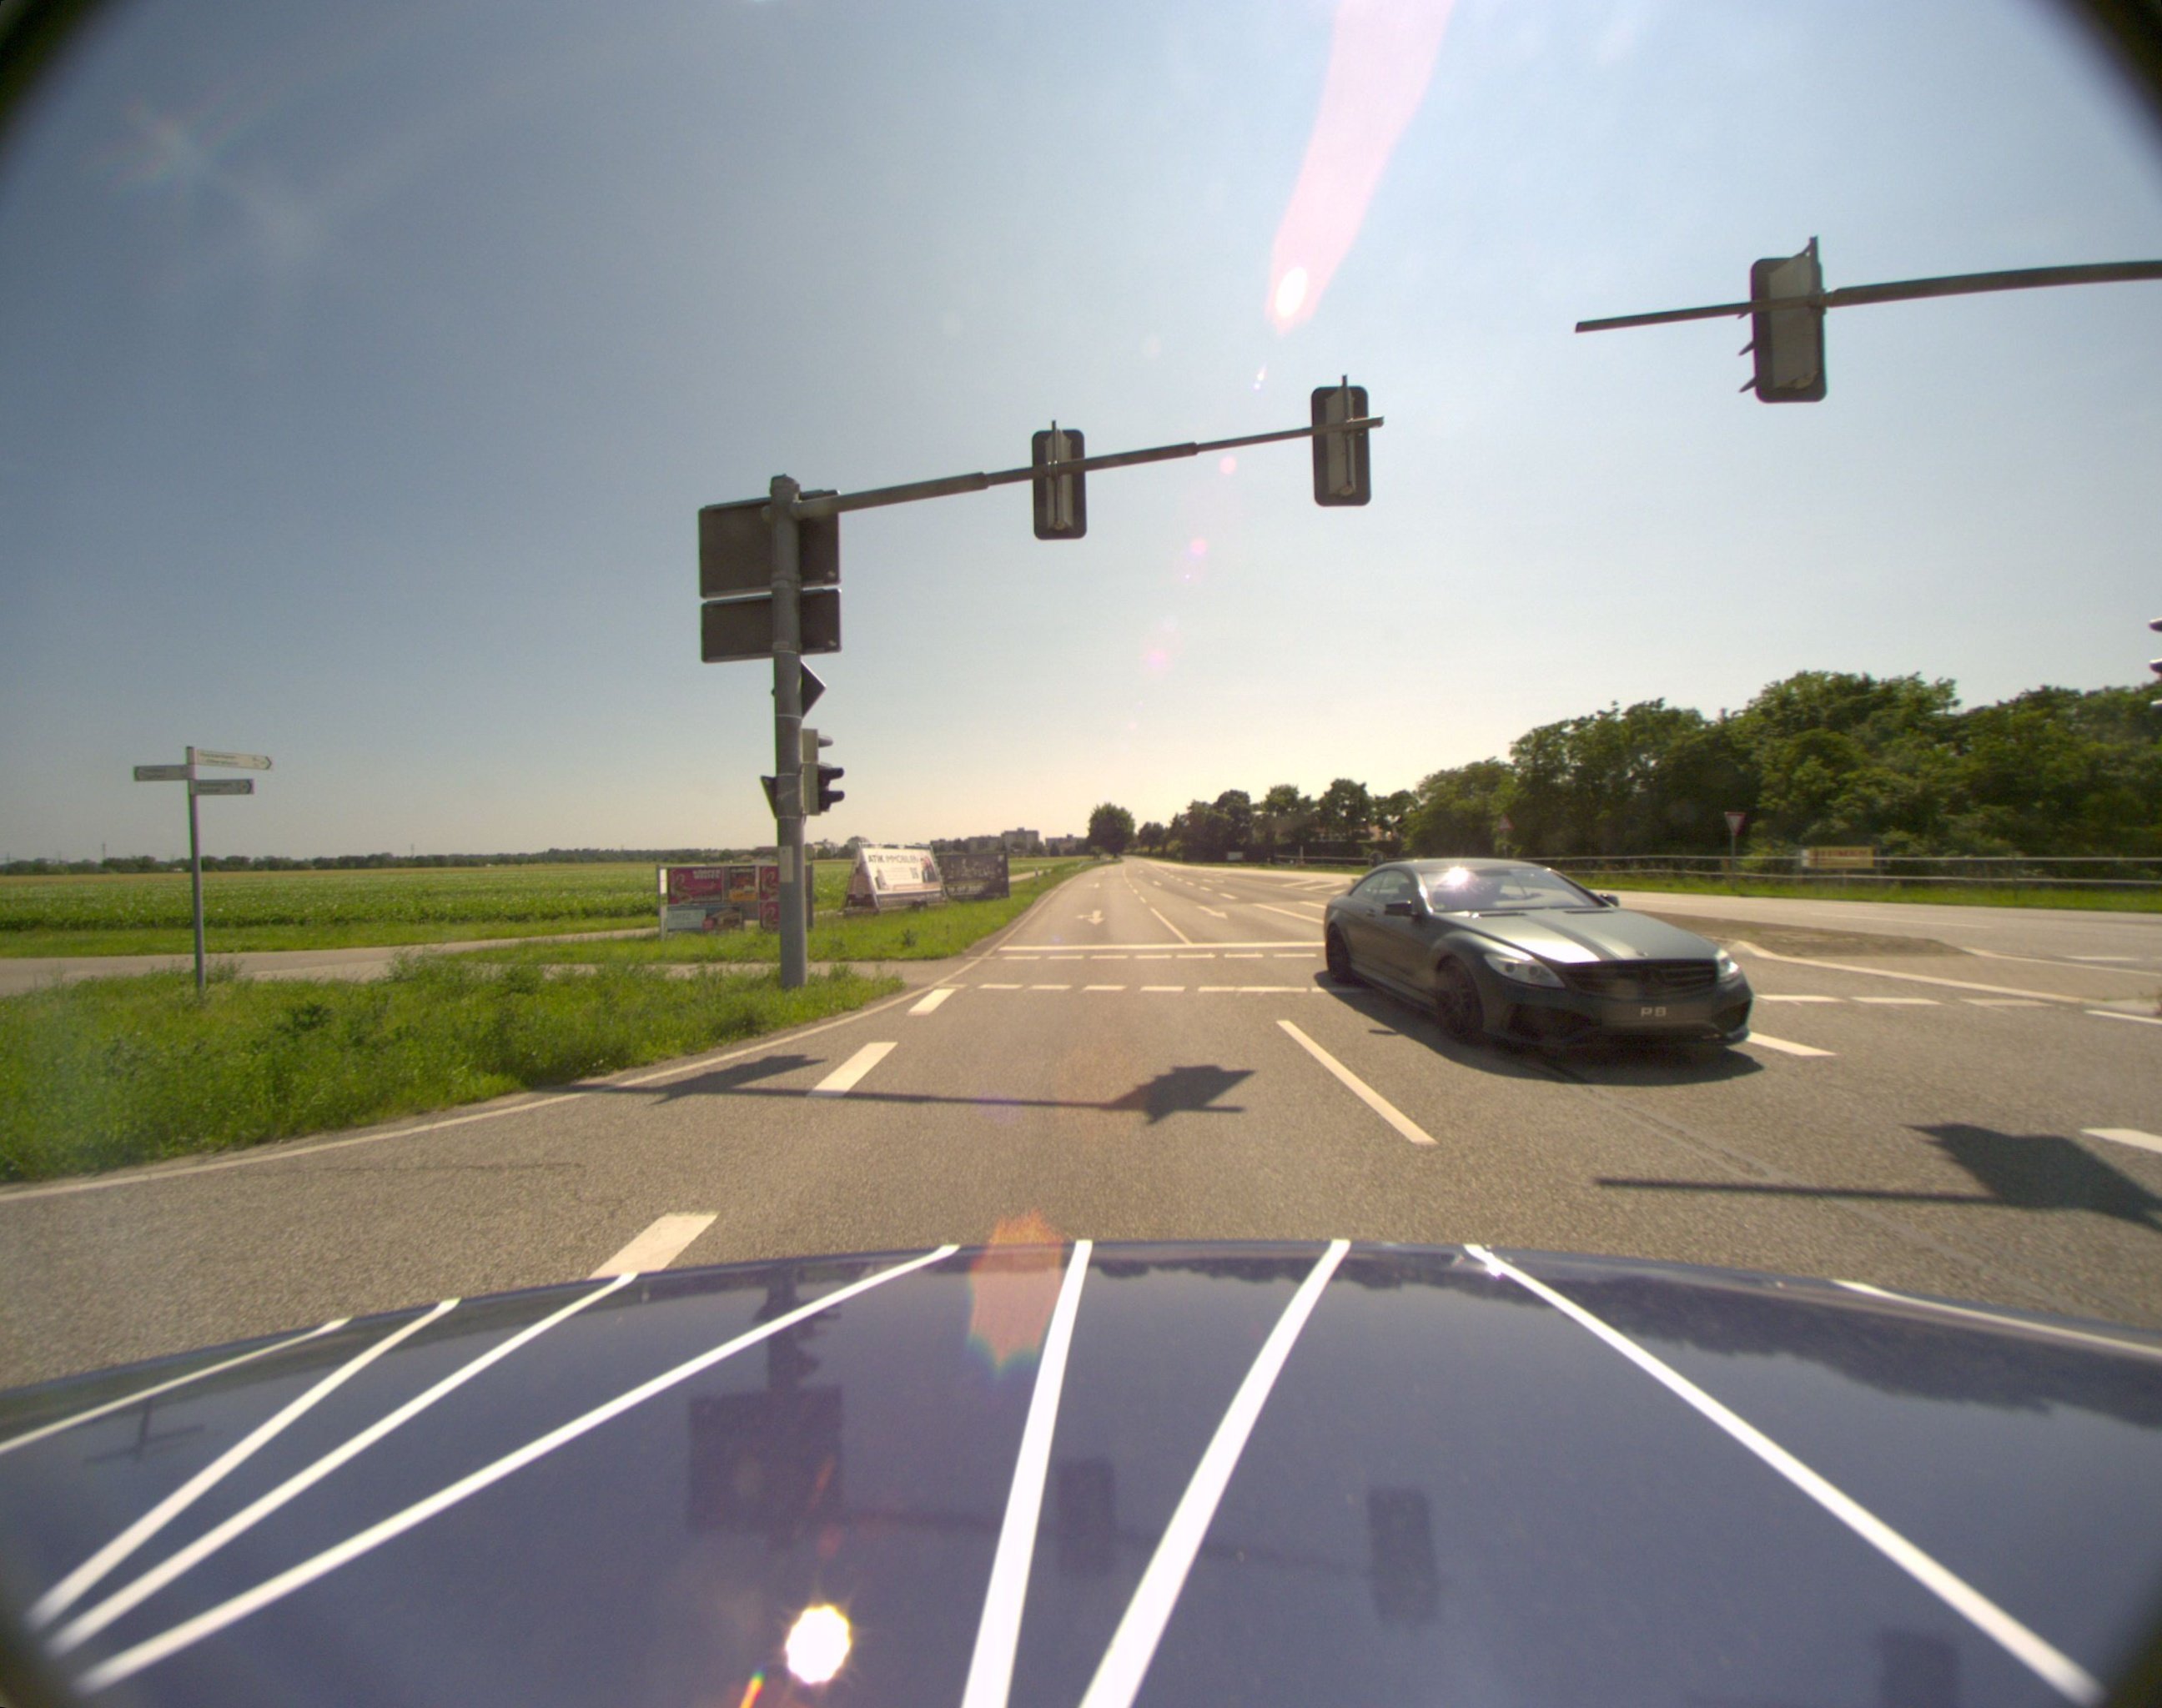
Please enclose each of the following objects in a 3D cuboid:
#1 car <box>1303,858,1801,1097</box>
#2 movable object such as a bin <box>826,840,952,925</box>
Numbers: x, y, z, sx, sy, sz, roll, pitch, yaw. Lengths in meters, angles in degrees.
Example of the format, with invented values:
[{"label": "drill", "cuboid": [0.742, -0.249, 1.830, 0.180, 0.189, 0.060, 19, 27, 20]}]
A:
[{"label": "car", "cuboid": [3.769, 0.818, 7.360, 1.815, 1.441, 4.877, -2, 0, 1]}, {"label": "movable object such as a bin", "cuboid": [-5.914, 0.816, 24.039, 1.523, 2.349, 4.429, -2, 1, 20]}]
